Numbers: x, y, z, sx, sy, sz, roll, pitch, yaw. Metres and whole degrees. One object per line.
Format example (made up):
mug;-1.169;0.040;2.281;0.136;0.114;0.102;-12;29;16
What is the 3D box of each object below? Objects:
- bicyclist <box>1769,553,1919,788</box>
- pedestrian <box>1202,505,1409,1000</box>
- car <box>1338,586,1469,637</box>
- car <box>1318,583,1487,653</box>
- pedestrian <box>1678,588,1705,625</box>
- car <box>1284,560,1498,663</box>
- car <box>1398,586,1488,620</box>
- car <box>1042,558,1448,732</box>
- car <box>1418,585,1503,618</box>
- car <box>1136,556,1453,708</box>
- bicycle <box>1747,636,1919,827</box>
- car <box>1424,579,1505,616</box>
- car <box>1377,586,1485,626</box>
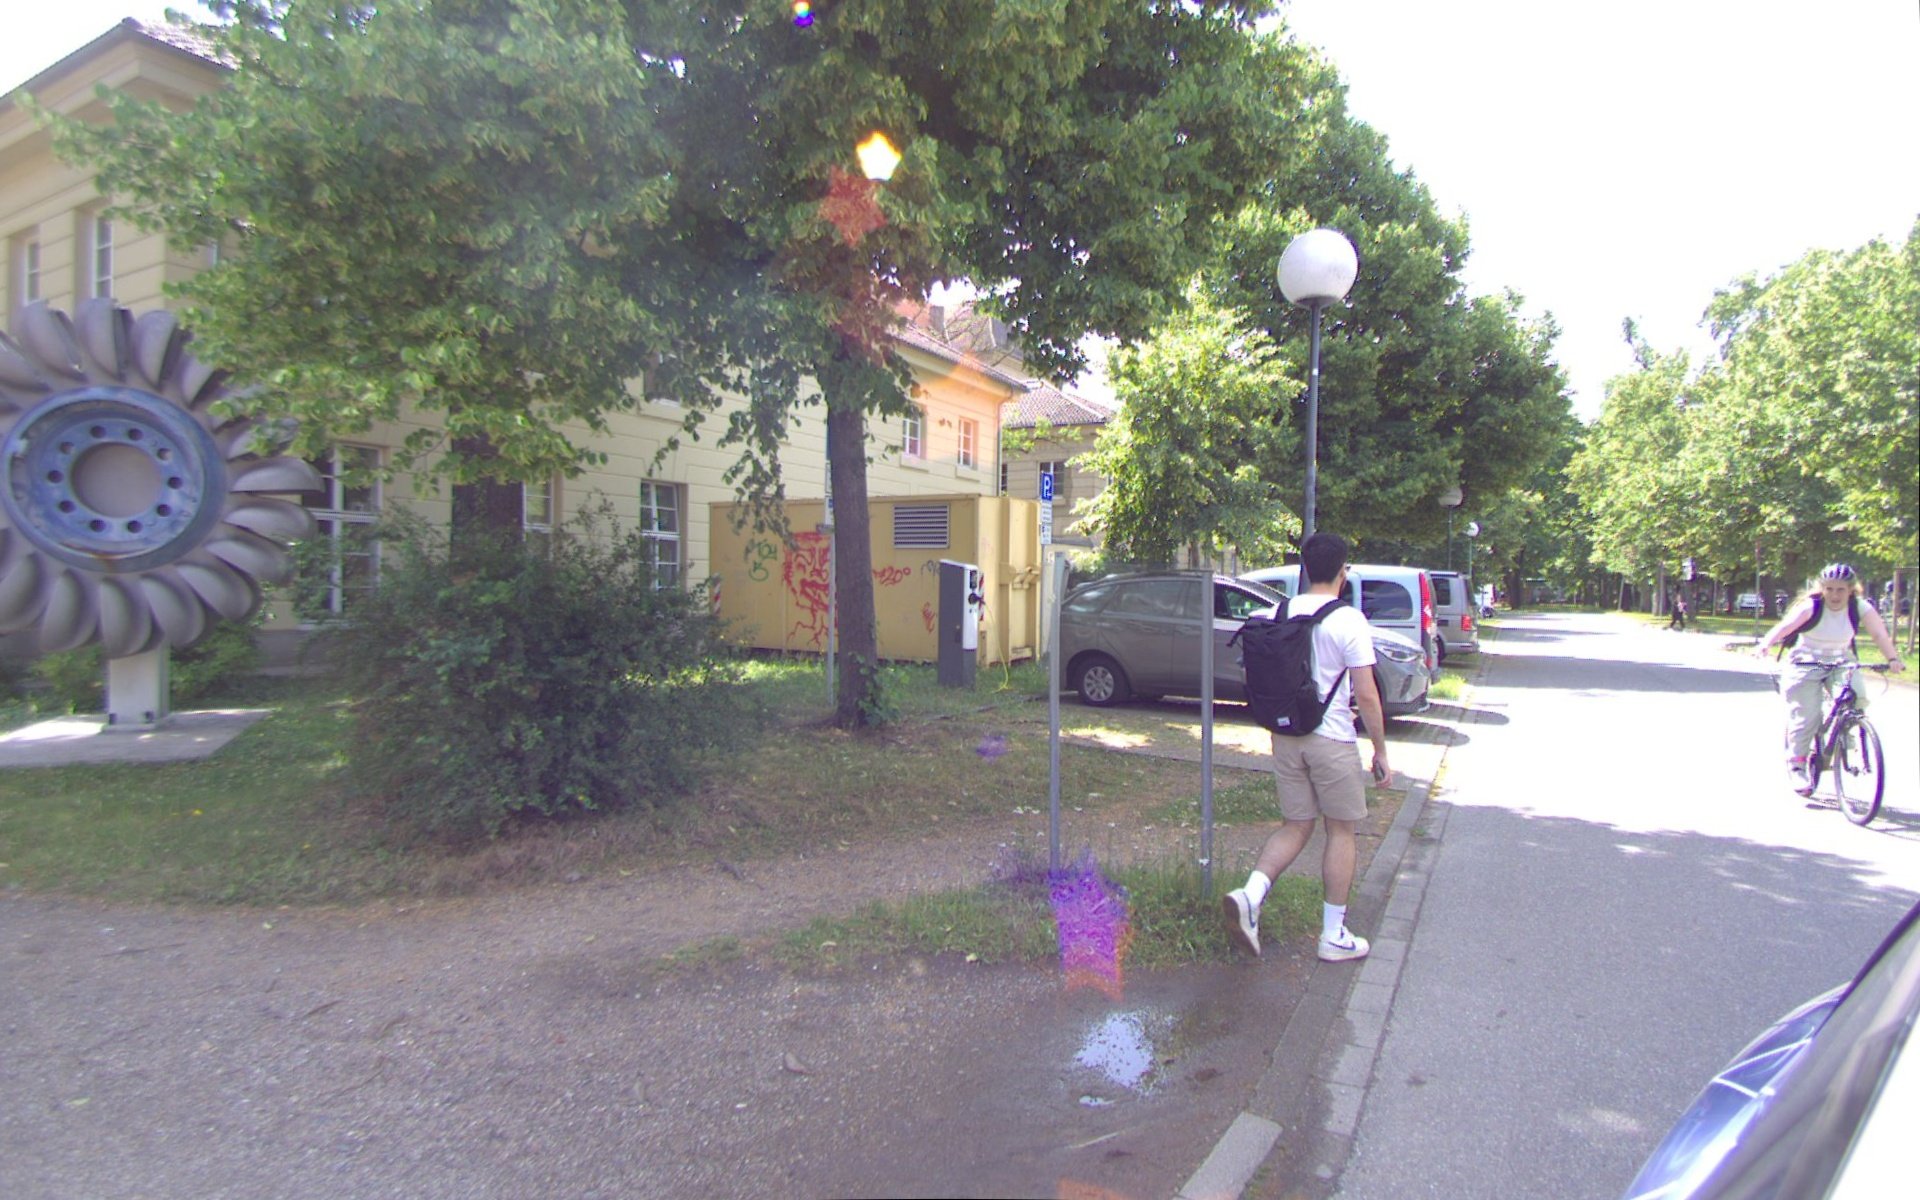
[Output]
bicyclist;6.168;0.444;7.026;0.669;1.497;1.052;-1;0;29
pedestrian;1.381;0.536;4.024;0.637;1.767;0.576;1;1;33
car;14.900;0.334;34.036;3.825;1.553;1.766;2;1;32
car;11.459;0.410;26.246;3.825;1.614;1.766;2;1;32
pedestrian;29.943;0.253;41.424;0.790;1.506;0.628;1;1;30
car;9.317;0.176;21.937;4.020;2.039;1.978;2;1;31
car;23.566;0.130;49.443;3.825;1.540;1.705;2;1;32
car;3.340;0.401;12.029;4.325;1.672;1.876;2;1;29
car;26.029;0.070;52.688;3.825;1.595;1.683;2;1;32
car;4.670;0.346;14.215;3.965;1.861;1.806;2;1;29
bicycle;6.290;0.849;7.267;0.669;1.086;2.114;-1;0;29
car;27.438;-0.143;55.034;3.825;1.903;1.761;2;1;32
car;19.234;0.224;41.379;3.825;1.506;1.705;2;1;32
